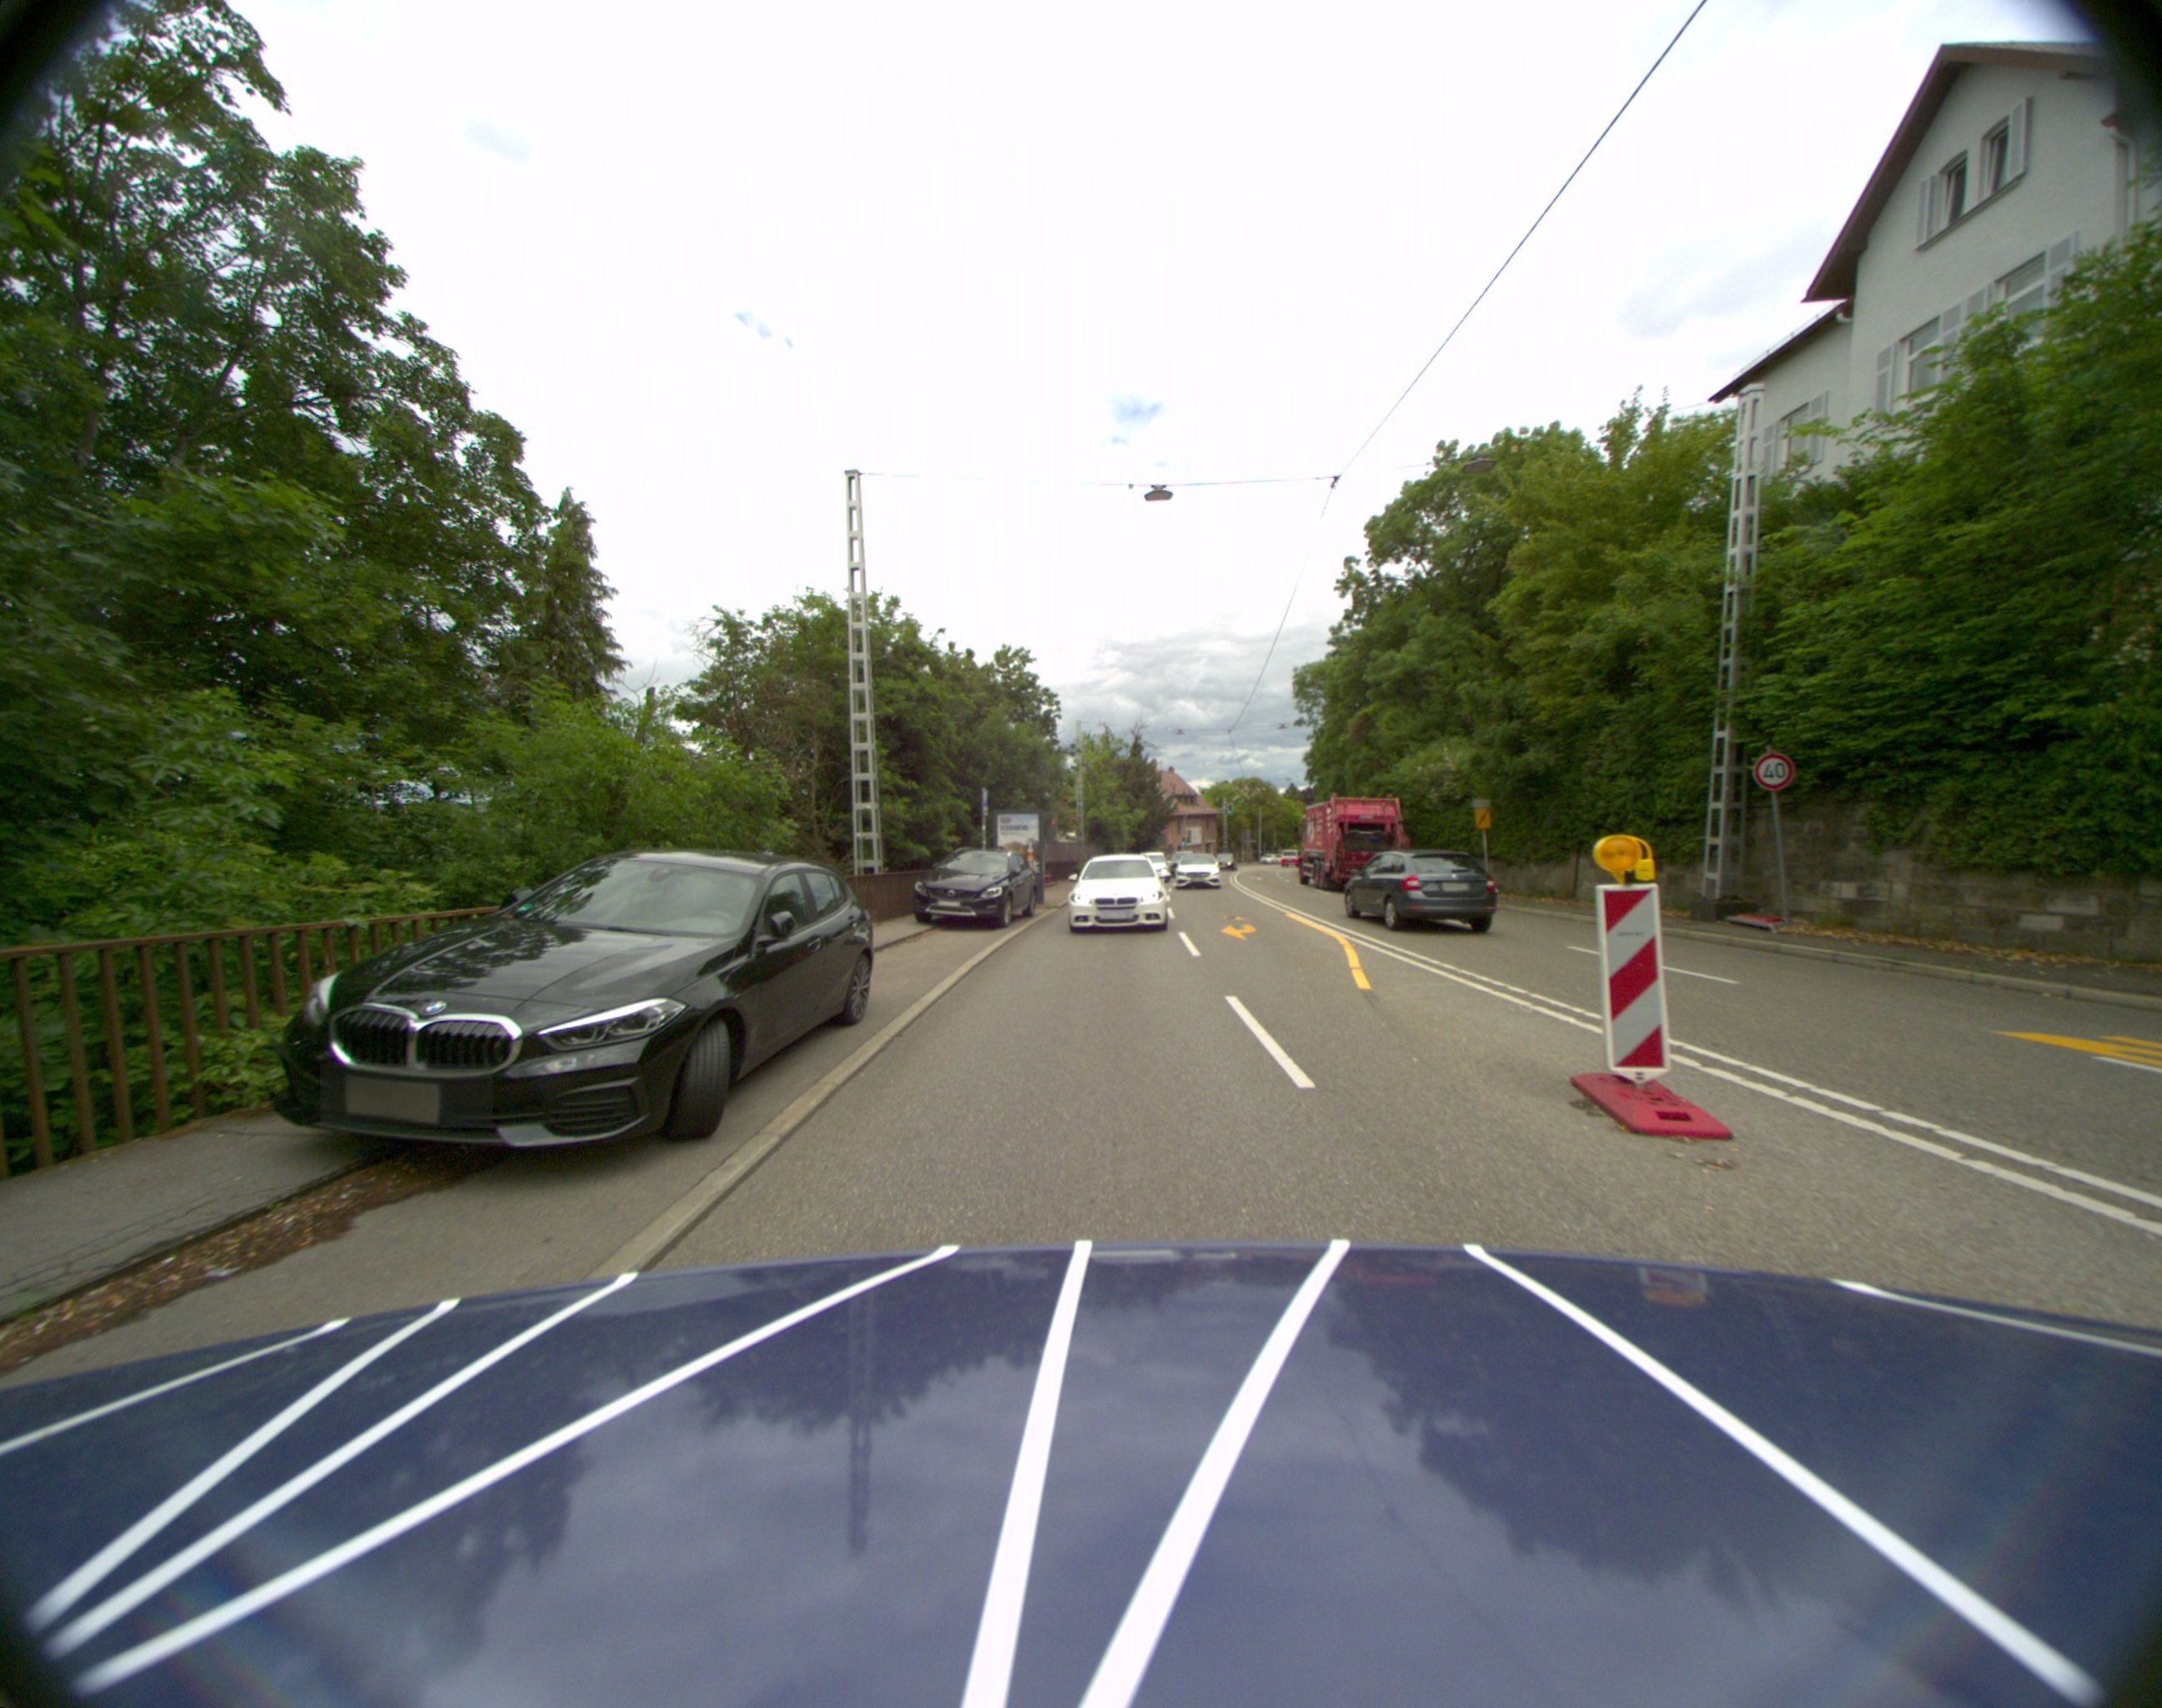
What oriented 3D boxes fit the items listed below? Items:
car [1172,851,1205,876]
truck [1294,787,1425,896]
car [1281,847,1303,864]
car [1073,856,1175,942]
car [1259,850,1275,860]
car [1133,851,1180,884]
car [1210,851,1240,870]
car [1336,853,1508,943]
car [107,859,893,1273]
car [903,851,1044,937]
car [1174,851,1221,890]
[{"bbox_3d":[6.807,0.585,47.825,1.797,1.501,4.003,0,0,12],"label":"car"},{"bbox_3d":[10.991,-0.465,31.162,2.865,3.677,9.663,2,1,8],"label":"truck"},{"bbox_3d":[24.379,0.139,87.786,1.992,1.894,4.251,1,1,20],"label":"car"},{"bbox_3d":[0.841,0.804,15.687,1.792,1.472,4.245,-1,0,2],"label":"car"},{"bbox_3d":[28.503,0.116,116.400,1.789,1.472,4.250,-2,0,20],"label":"car"},{"bbox_3d":[4.008,0.668,39.819,1.790,1.542,4.249,-2,0,14],"label":"car"},{"bbox_3d":[12.299,0.510,64.693,1.789,1.472,4.250,-2,0,20],"label":"car"},{"bbox_3d":[6.313,0.727,14.569,1.718,1.453,4.001,0,0,4],"label":"car"},{"bbox_3d":[-2.778,0.831,5.051,1.858,1.427,4.232,4,0,1],"label":"car"},{"bbox_3d":[-2.109,0.726,16.174,1.857,1.525,4.234,2,1,7],"label":"car"},{"bbox_3d":[4.813,0.649,31.699,1.791,1.472,4.247,-1,0,8],"label":"car"}]
